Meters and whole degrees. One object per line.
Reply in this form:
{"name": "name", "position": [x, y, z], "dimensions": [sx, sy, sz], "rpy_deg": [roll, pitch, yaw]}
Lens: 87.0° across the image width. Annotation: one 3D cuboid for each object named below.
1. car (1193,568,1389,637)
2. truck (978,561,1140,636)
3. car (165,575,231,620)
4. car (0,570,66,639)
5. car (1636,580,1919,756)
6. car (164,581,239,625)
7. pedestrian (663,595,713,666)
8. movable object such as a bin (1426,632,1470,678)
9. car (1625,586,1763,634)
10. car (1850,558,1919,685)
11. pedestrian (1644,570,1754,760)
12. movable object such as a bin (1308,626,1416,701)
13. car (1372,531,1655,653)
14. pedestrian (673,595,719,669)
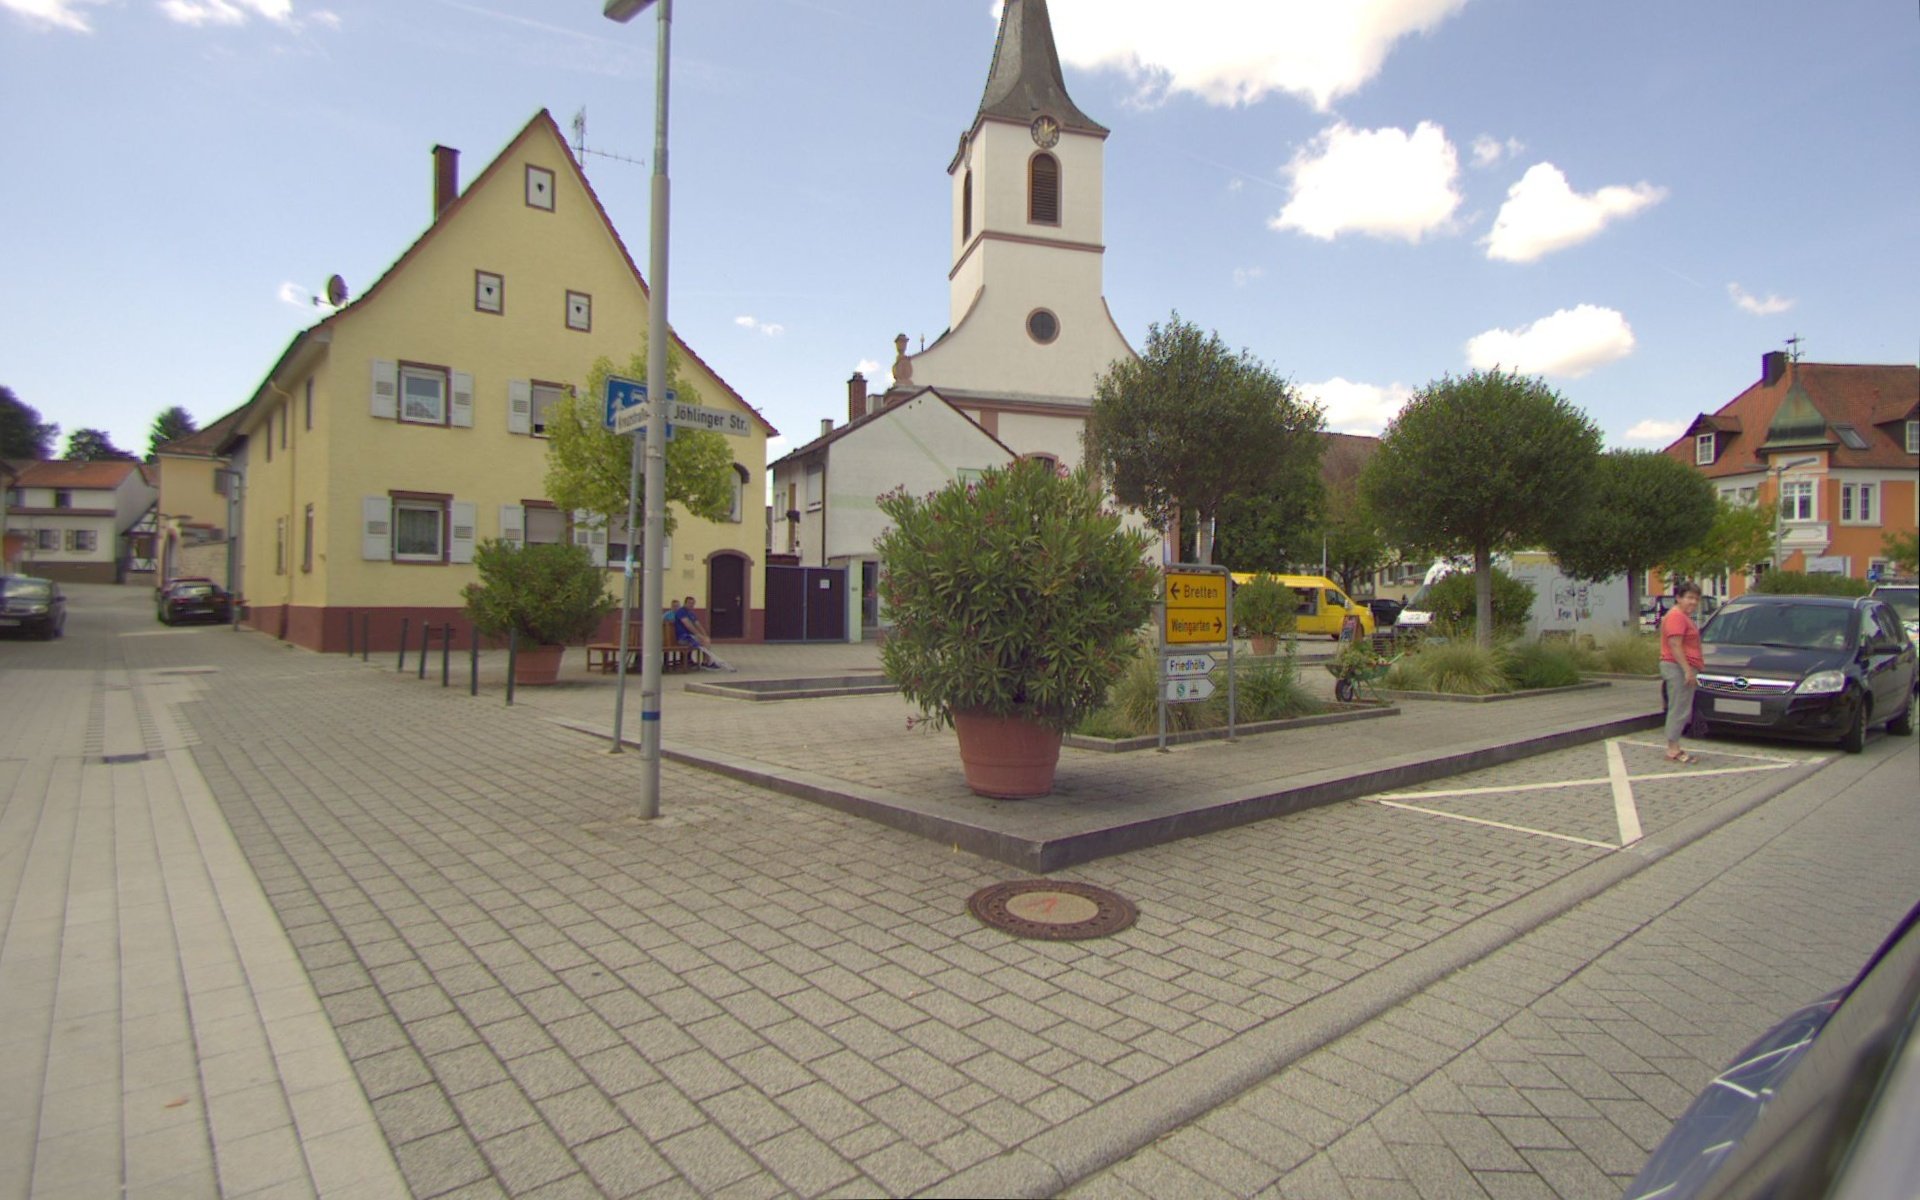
{"name": "car", "position": [12.695, 0.056, 39.333], "dimensions": [6.850, 2.508, 2.647], "rpy_deg": [1, 0, 9]}
{"name": "truck", "position": [3.515, -0.056, 37.902], "dimensions": [2.897, 2.529, 6.835], "rpy_deg": [1, 0, -26]}
{"name": "car", "position": [-29.209, -0.134, 38.828], "dimensions": [1.963, 1.641, 3.540], "rpy_deg": [0, 2, -37]}
{"name": "car", "position": [-23.952, 0.075, 25.706], "dimensions": [1.577, 1.640, 3.671], "rpy_deg": [2, 0, -38]}
{"name": "car", "position": [9.593, 0.634, 11.475], "dimensions": [4.335, 1.583, 1.775], "rpy_deg": [0, 2, -36]}
{"name": "car", "position": [-25.992, 0.061, 34.688], "dimensions": [1.963, 1.363, 3.540], "rpy_deg": [-1, 2, -37]}
{"name": "pedestrian", "position": [-5.084, 0.557, 18.944], "dimensions": [0.775, 1.300, 0.537], "rpy_deg": [0, 1, 2]}
{"name": "movable object such as a bin", "position": [8.353, 0.932, 17.334], "dimensions": [0.384, 0.742, 0.567], "rpy_deg": [1, 0, -35]}
{"name": "car", "position": [32.107, 0.441, 44.281], "dimensions": [5.379, 2.039, 2.004], "rpy_deg": [1, 0, -16]}
{"name": "car", "position": [18.832, 0.394, 19.208], "dimensions": [5.007, 2.204, 1.948], "rpy_deg": [0, 2, -38]}
{"name": "pedestrian", "position": [6.755, 0.562, 9.259], "dimensions": [0.608, 1.649, 0.641], "rpy_deg": [1, 0, -35]}
{"name": "movable object such as a bin", "position": [5.199, 0.790, 13.051], "dimensions": [1.411, 0.877, 0.736], "rpy_deg": [0, 0, -41]}
{"name": "car", "position": [14.879, -0.237, 27.242], "dimensions": [6.964, 3.000, 2.767], "rpy_deg": [0, 1, -20]}
{"name": "pedestrian", "position": [-4.773, 0.561, 18.335], "dimensions": [0.660, 1.300, 0.614], "rpy_deg": [0, 1, 2]}
